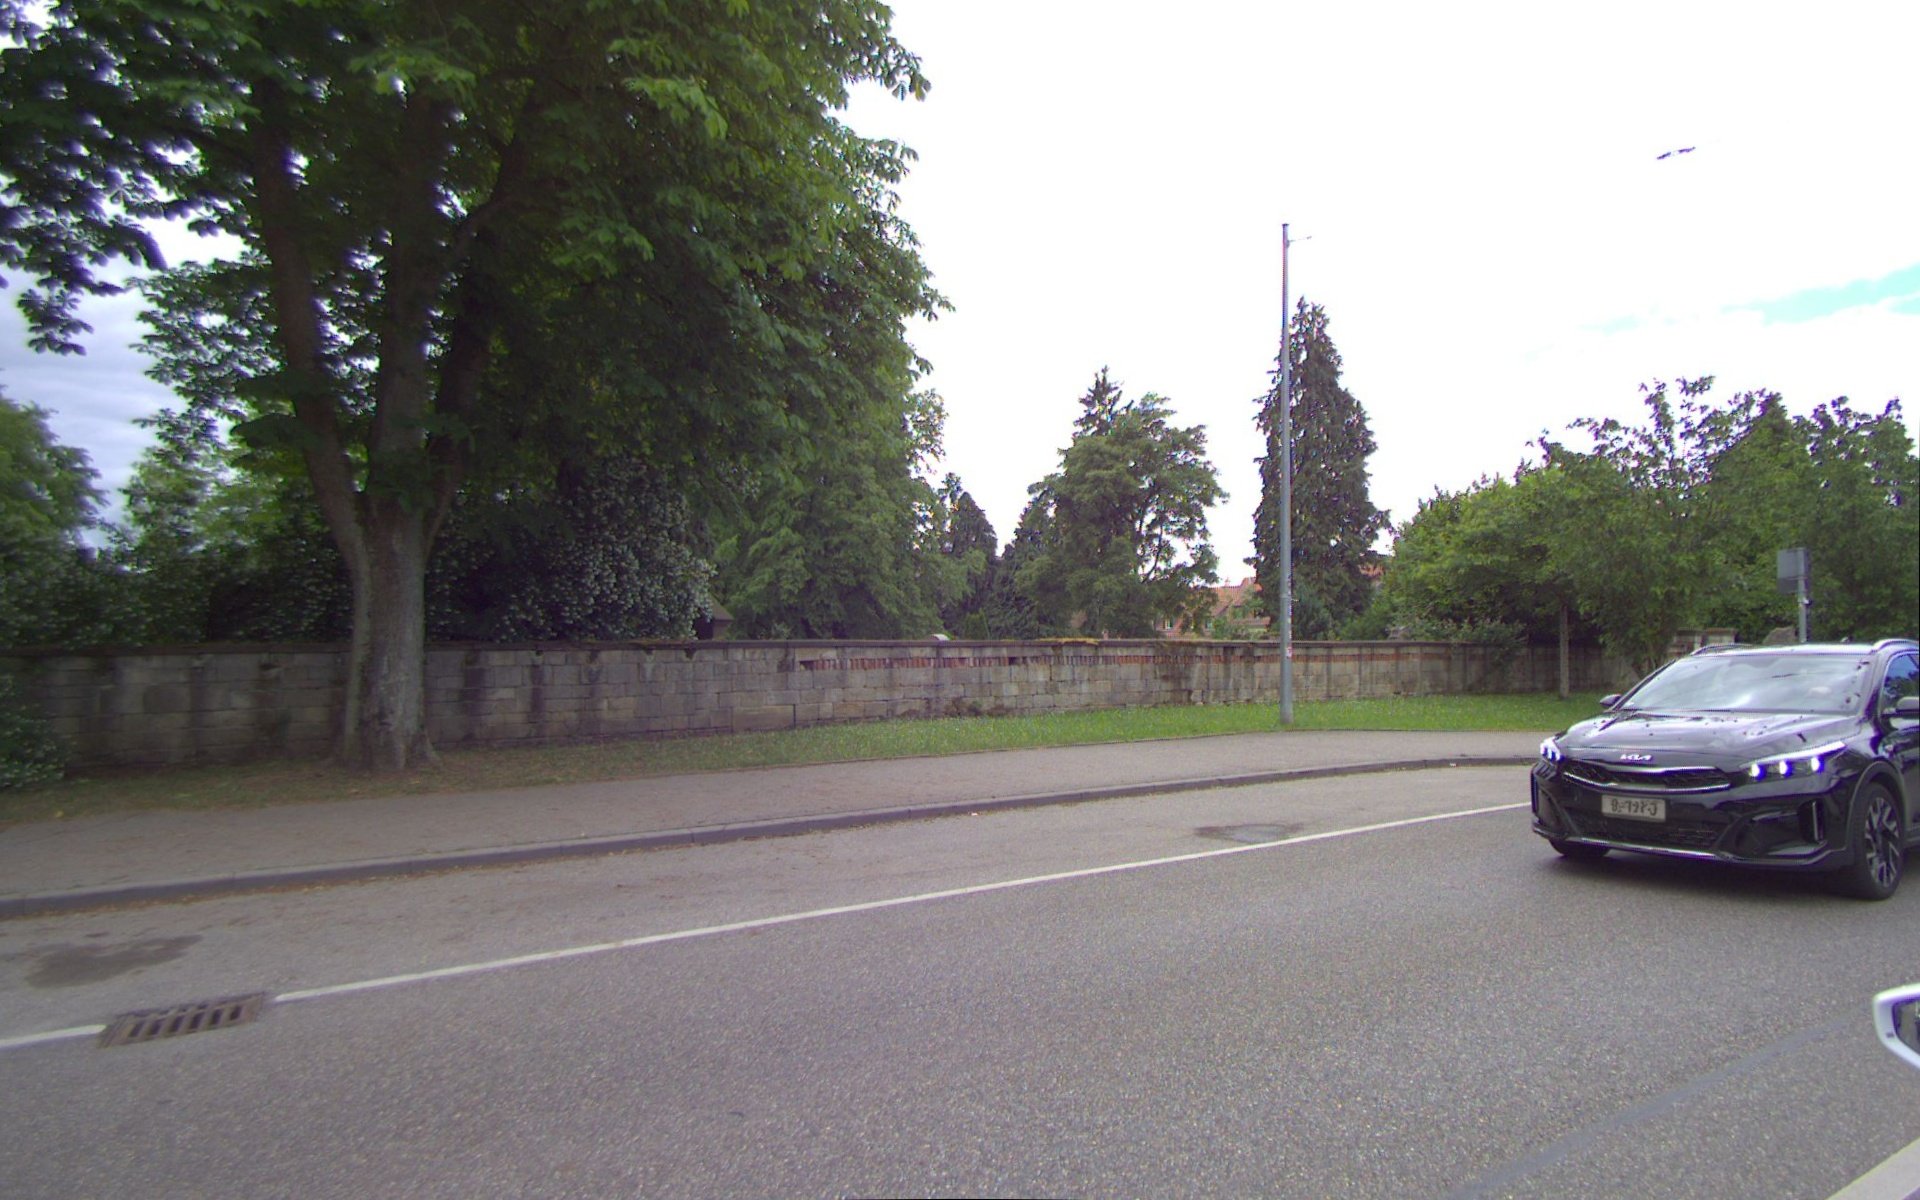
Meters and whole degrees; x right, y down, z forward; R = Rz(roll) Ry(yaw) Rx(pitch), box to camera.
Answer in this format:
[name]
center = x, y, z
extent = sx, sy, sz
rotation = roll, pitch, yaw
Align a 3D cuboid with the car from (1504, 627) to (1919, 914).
[car]
center = 5.812, 1.008, 7.036
extent = 3.953, 1.502, 1.693
rotation = 2, -5, -30
